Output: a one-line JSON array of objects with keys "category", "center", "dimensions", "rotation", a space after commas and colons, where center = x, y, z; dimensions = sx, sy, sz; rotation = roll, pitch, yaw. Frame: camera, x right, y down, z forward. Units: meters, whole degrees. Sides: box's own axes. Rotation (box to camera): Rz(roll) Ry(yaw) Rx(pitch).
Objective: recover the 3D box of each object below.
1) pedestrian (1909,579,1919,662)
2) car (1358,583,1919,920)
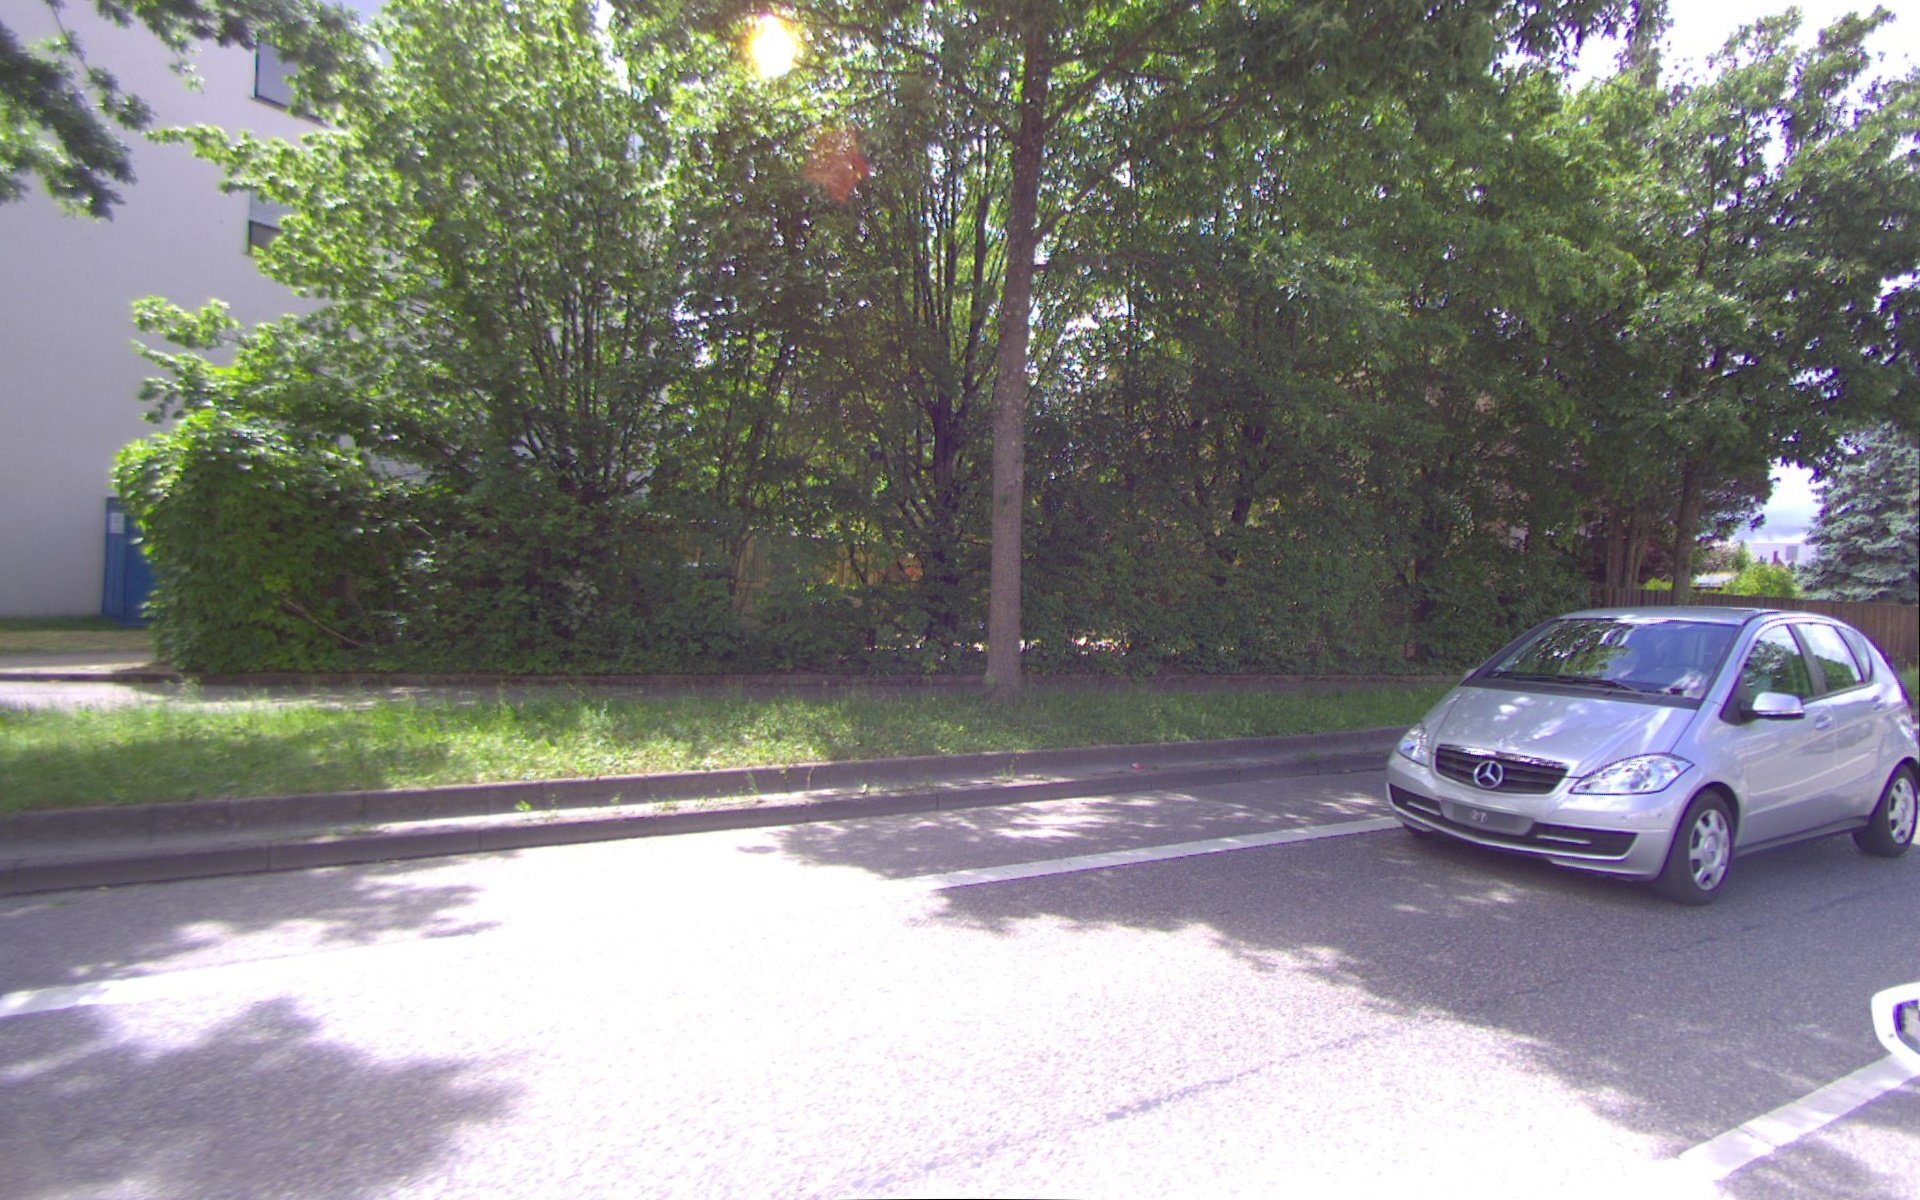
[{"category": "pedestrian", "center": [23.944, 0.525, 24.864], "dimensions": [0.409, 2.040, 0.400], "rotation": [3, 2, -28]}, {"category": "car", "center": [4.704, 0.777, 6.620], "dimensions": [3.951, 1.639, 1.701], "rotation": [2, 1, -29]}]
